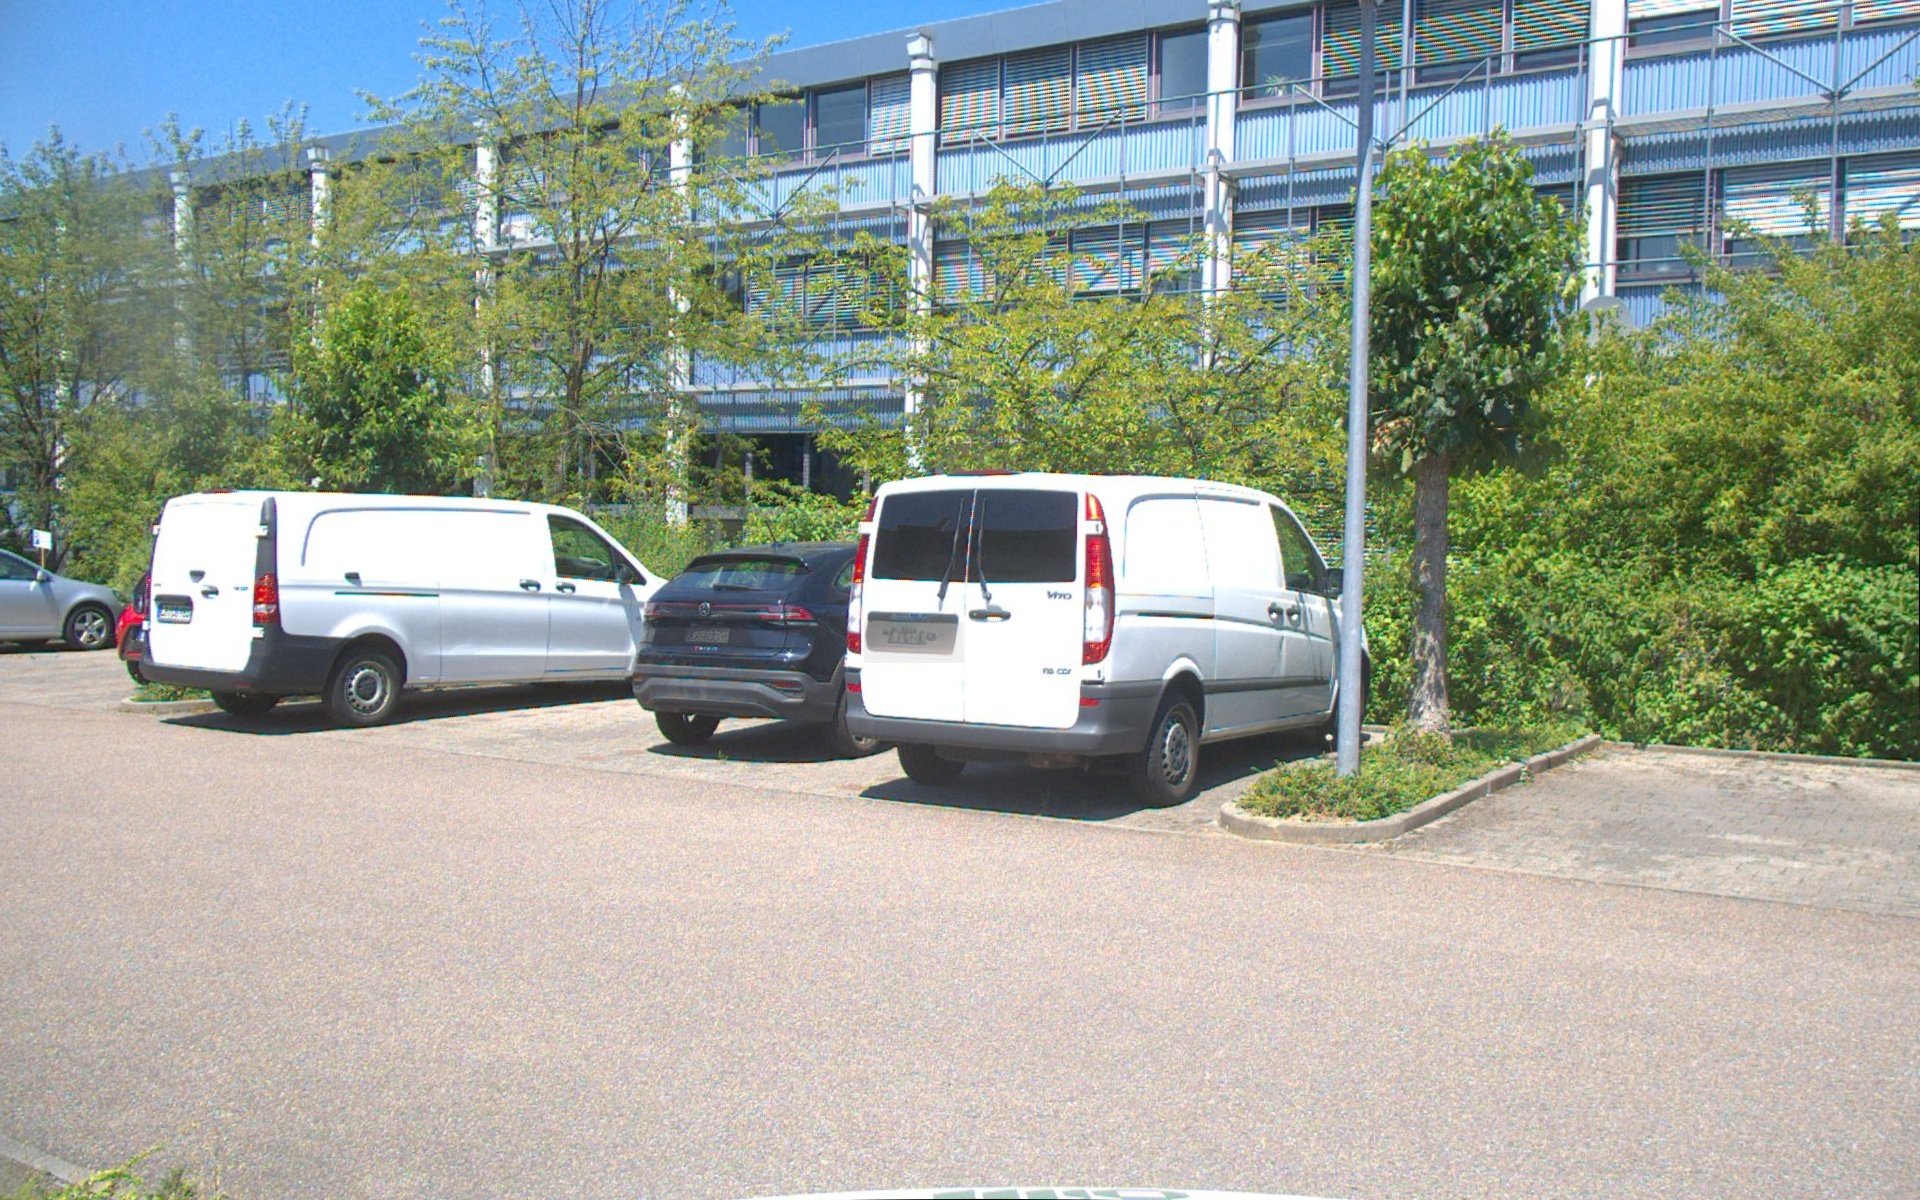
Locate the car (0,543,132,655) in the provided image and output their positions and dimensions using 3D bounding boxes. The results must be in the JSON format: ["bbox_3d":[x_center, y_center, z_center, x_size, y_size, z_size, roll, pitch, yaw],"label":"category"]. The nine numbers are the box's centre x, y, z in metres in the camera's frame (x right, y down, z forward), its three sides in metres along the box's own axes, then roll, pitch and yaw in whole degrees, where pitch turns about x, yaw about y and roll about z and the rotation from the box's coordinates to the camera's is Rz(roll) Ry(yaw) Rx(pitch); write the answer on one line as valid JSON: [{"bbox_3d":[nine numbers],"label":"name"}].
[{"bbox_3d":[-13.374,-0.016,21.673,1.836,1.430,4.155,2,3,36],"label":"car"}]

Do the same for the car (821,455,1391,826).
[{"bbox_3d":[1.255,0.114,11.166,1.878,1.938,4.797,1,2,32],"label":"car"}]

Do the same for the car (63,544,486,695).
[{"bbox_3d":[-7.378,0.118,18.154,1.752,1.466,3.986,1,2,36],"label":"car"}]

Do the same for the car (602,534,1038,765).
[{"bbox_3d":[-0.909,0.249,13.064,1.719,1.501,3.999,0,2,24],"label":"car"}]

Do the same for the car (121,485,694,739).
[{"bbox_3d":[-4.757,-0.015,14.999,1.849,1.924,4.788,1,3,34],"label":"car"}]
